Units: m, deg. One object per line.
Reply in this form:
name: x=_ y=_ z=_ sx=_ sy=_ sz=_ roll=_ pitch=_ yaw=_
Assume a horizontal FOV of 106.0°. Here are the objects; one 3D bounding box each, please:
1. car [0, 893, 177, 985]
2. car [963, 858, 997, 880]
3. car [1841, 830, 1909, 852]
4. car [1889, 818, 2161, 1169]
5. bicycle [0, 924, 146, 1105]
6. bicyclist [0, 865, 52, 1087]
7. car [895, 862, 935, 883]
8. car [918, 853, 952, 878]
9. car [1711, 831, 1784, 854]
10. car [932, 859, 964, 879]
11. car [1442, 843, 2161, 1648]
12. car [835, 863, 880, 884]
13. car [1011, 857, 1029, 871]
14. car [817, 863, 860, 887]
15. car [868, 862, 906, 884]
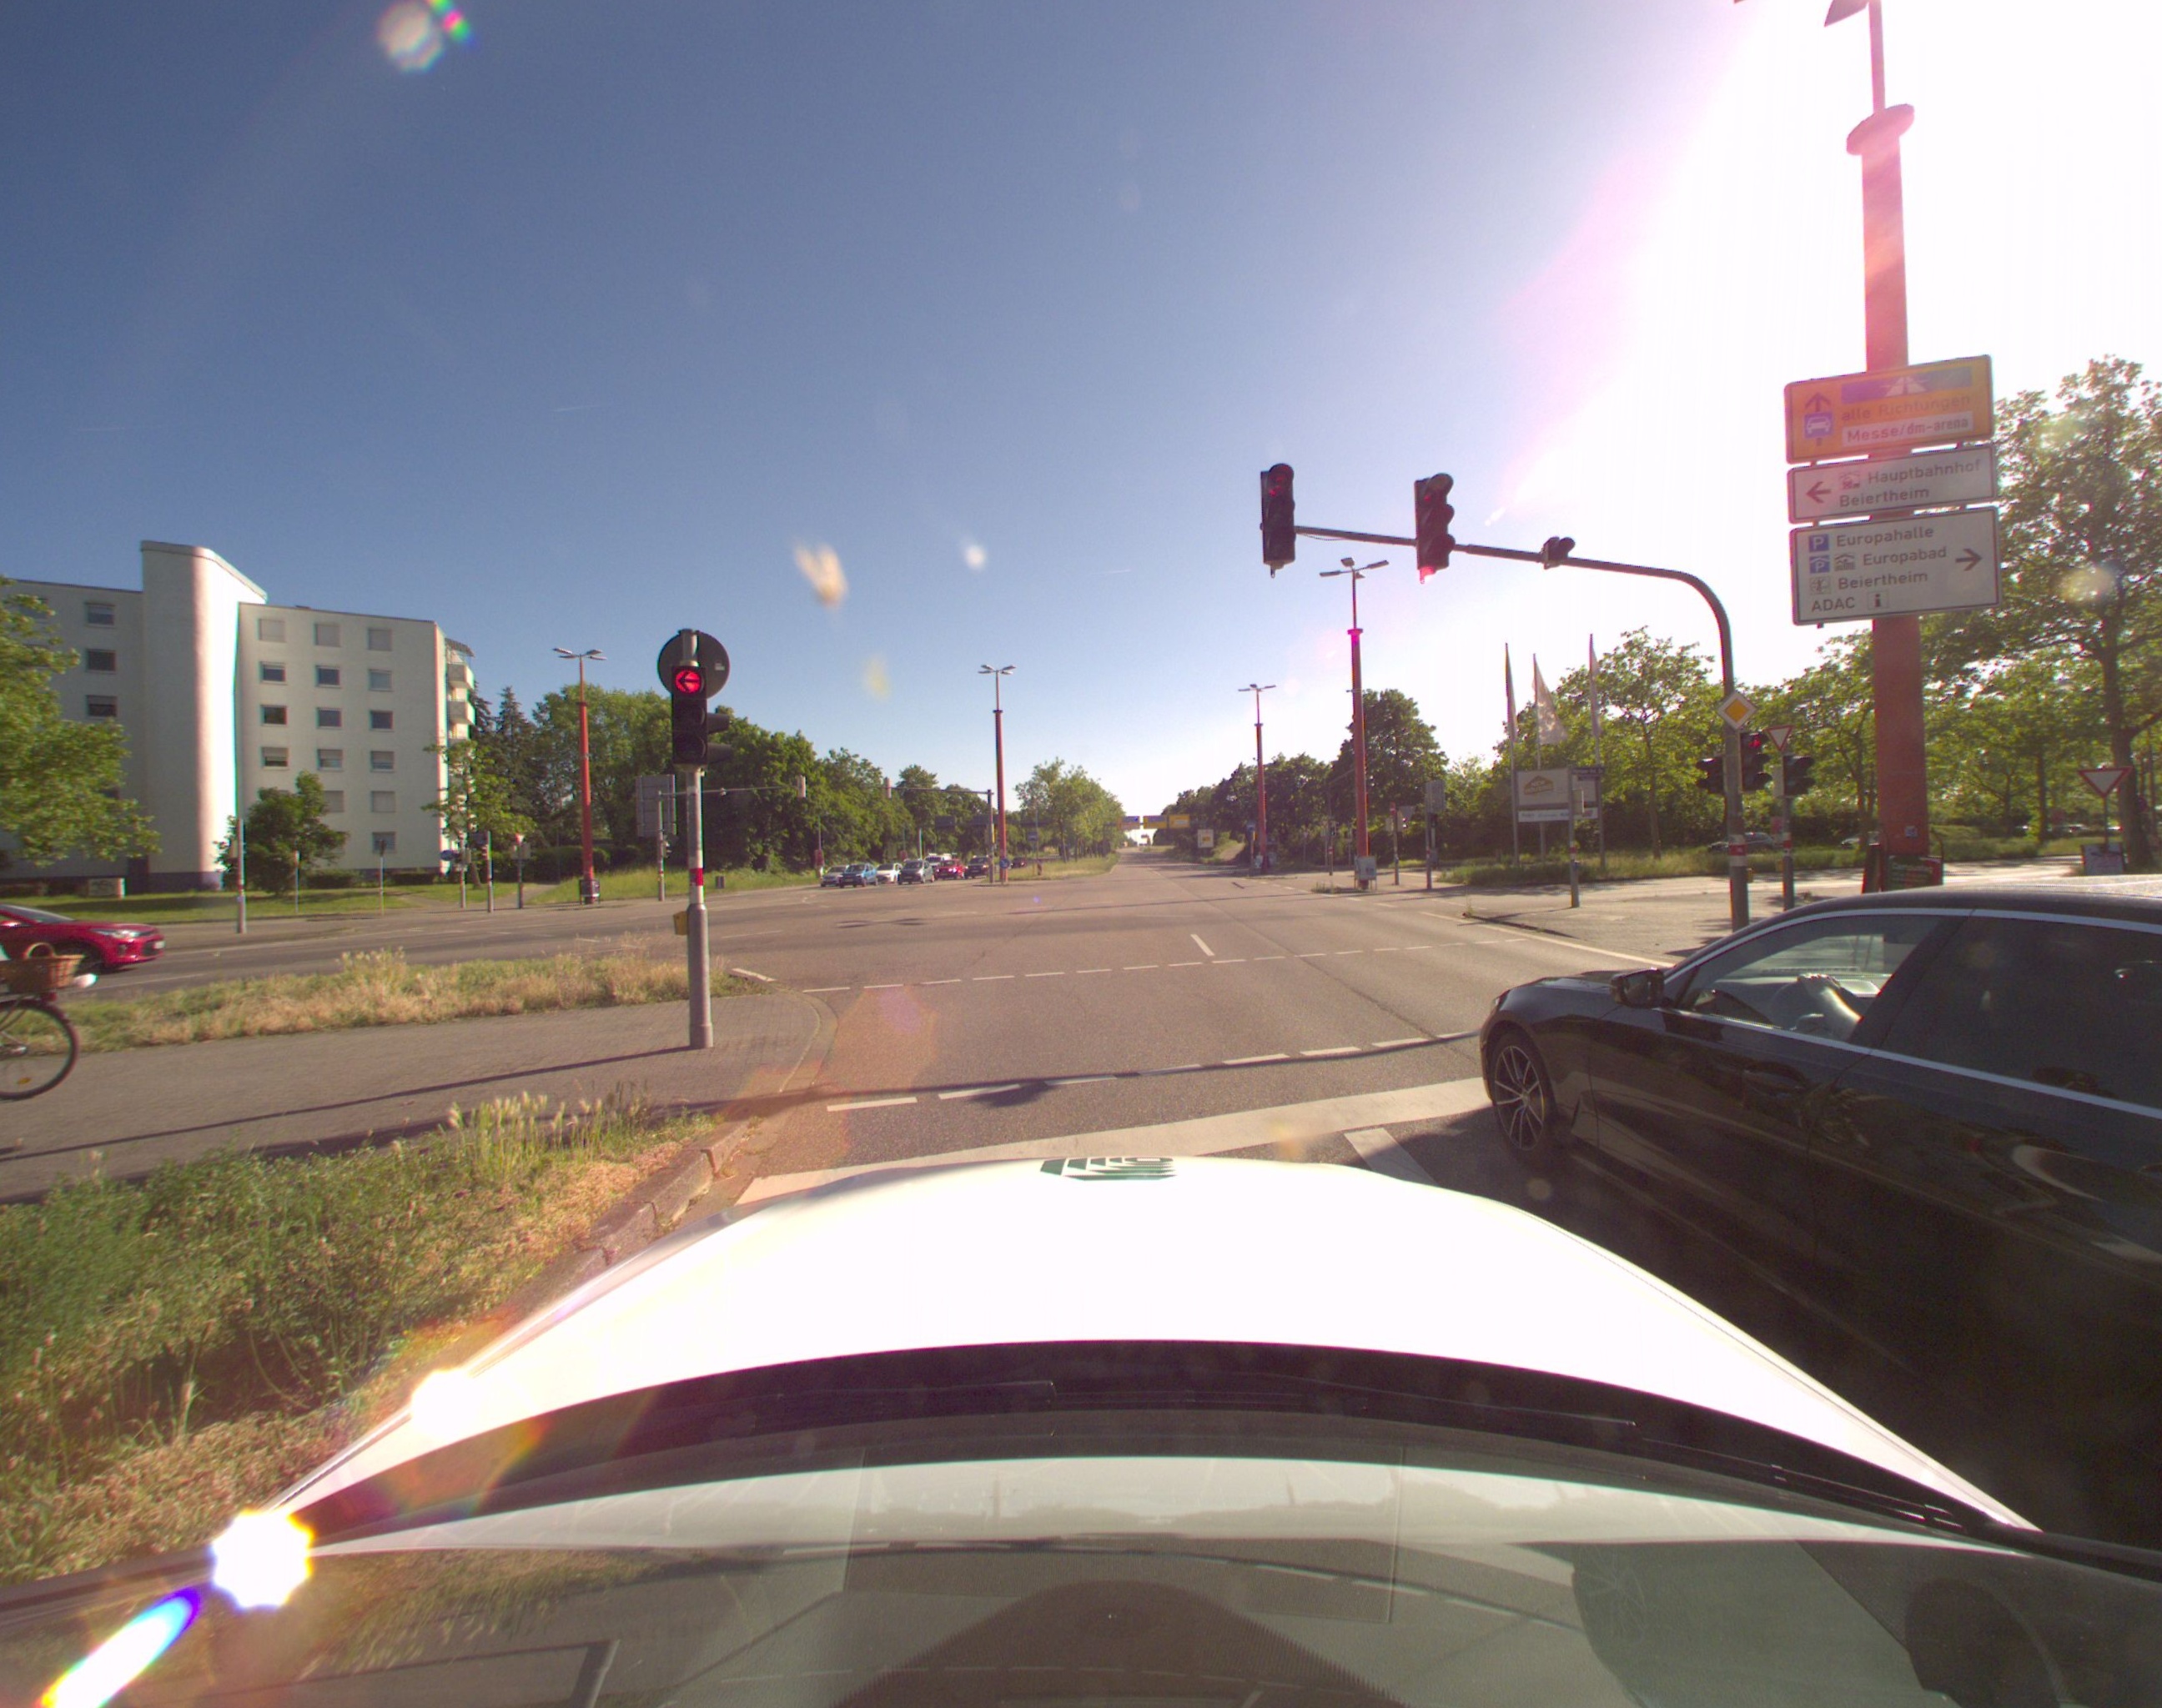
car: x=-18.977 y=1.517 z=14.157 sx=4.083 sy=1.435 sz=1.667 roll=-2 pitch=0 yaw=-36
car: x=-7.356 y=1.048 z=59.437 sx=1.812 sy=1.508 sz=4.002 roll=-2 pitch=0 yaw=2
car: x=58.704 y=-0.957 z=60.236 sx=3.986 sy=1.467 sz=1.676 roll=-2 pitch=0 yaw=-13
car: x=5.668 y=0.601 z=2.865 sx=1.732 sy=1.578 sz=4.032 roll=-2 pitch=0 yaw=3
bicycle: x=-8.233 y=1.180 z=5.781 sx=1.952 sy=1.195 sz=0.686 roll=-2 pitch=0 yaw=-26
bicyclist: x=-8.118 y=0.883 z=5.842 sx=0.664 sy=1.584 sz=0.667 roll=-2 pitch=0 yaw=-26
car: x=-10.603 y=1.179 z=52.311 sx=1.733 sy=1.243 sz=3.613 roll=-2 pitch=0 yaw=1
car: x=-12.689 y=0.987 z=71.070 sx=1.886 sy=2.026 sz=5.224 roll=-1 pitch=0 yaw=1
car: x=46.468 y=-0.799 z=56.814 sx=4.324 sy=1.485 sz=1.776 roll=-2 pitch=0 yaw=-16
car: x=-9.875 y=1.079 z=60.713 sx=1.733 sy=1.362 sz=3.613 roll=-2 pitch=0 yaw=1
car: x=2.887 y=0.689 z=2.378 sx=1.862 sy=1.398 sz=4.446 roll=-2 pitch=0 yaw=3
car: x=-14.087 y=1.203 z=51.424 sx=1.733 sy=1.243 sz=3.613 roll=-2 pitch=0 yaw=1
car: x=-7.544 y=1.197 z=100.822 sx=1.812 sy=1.629 sz=4.002 roll=-2 pitch=0 yaw=2
car: x=-17.169 y=1.449 z=57.850 sx=1.754 sy=1.532 sz=3.936 roll=-2 pitch=0 yaw=1
car: x=-13.670 y=1.309 z=57.533 sx=1.733 sy=1.411 sz=3.613 roll=-2 pitch=0 yaw=1
